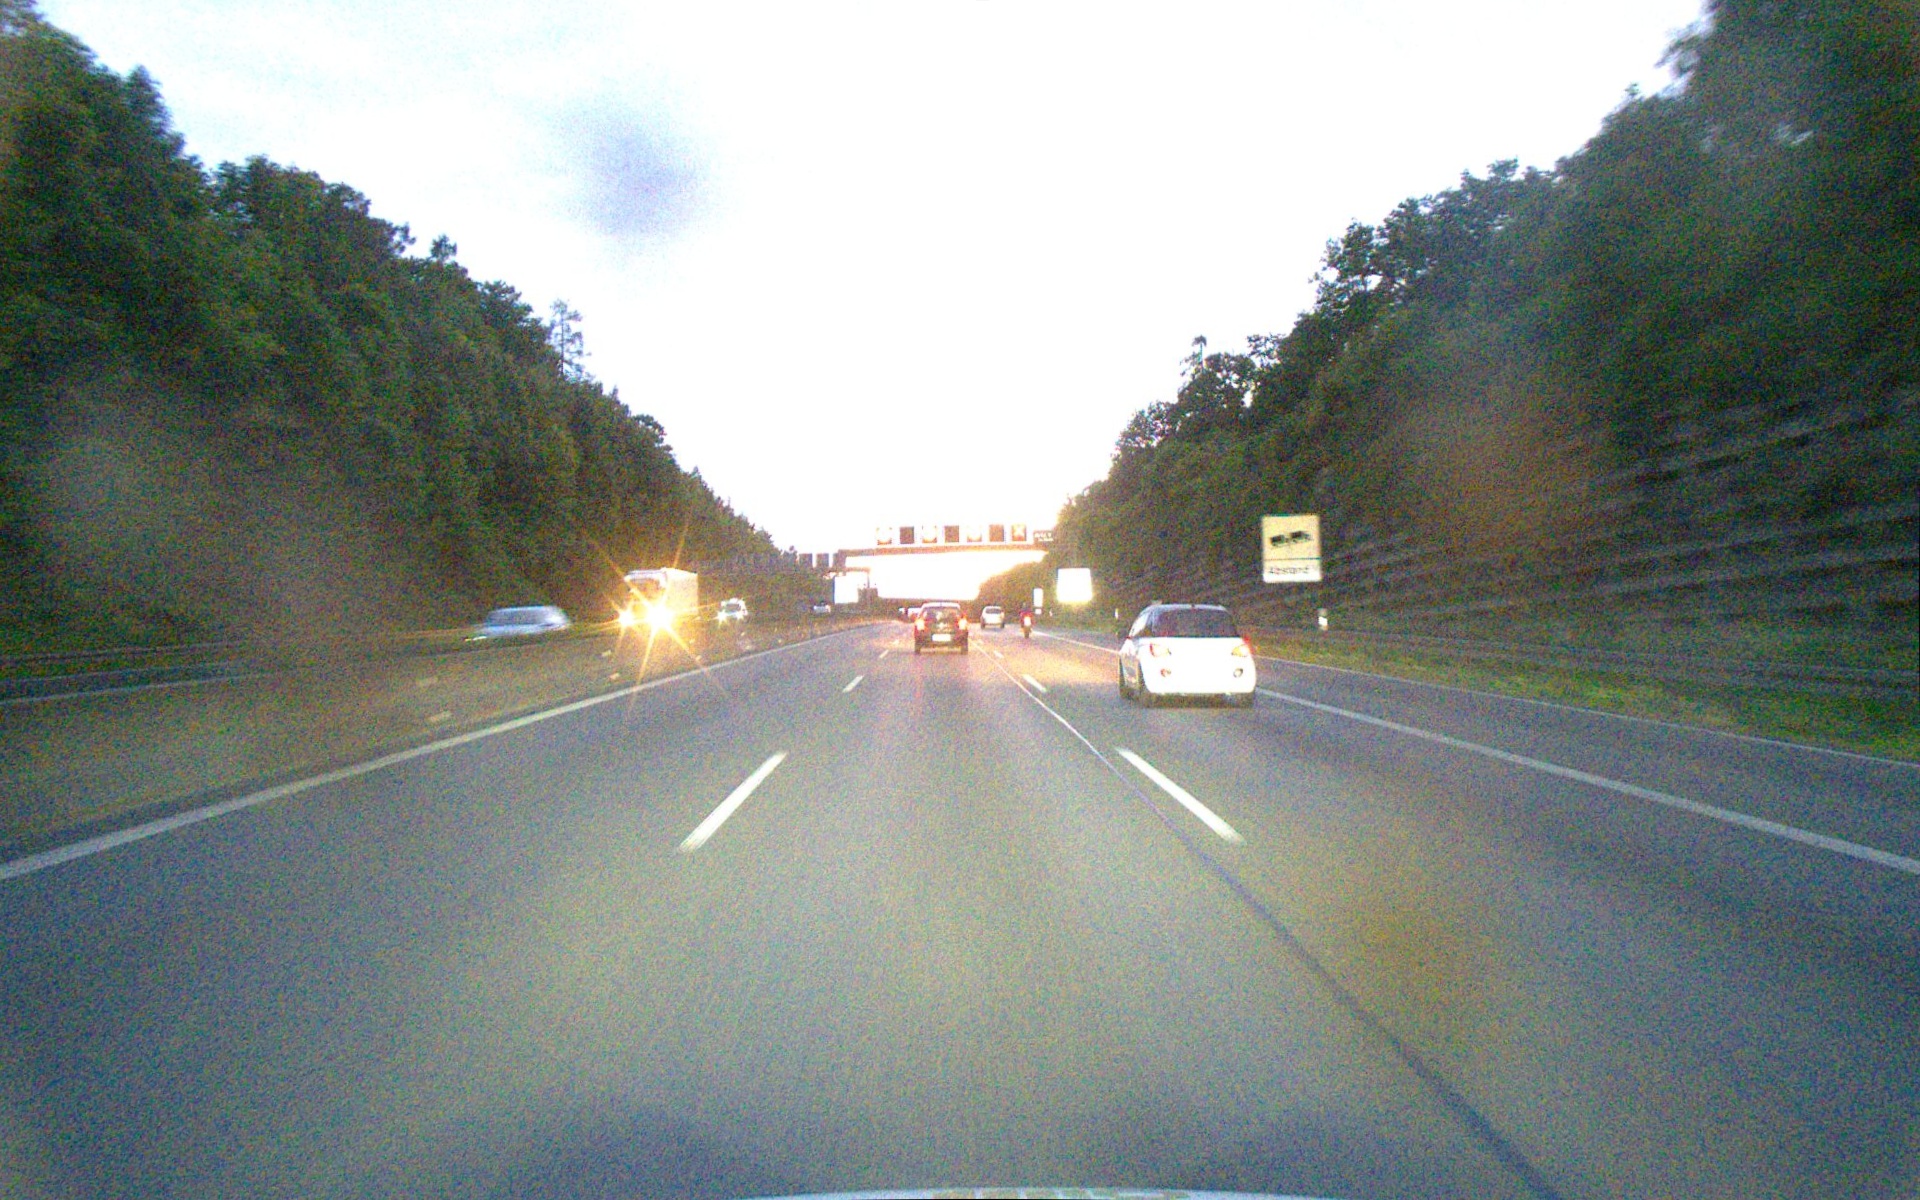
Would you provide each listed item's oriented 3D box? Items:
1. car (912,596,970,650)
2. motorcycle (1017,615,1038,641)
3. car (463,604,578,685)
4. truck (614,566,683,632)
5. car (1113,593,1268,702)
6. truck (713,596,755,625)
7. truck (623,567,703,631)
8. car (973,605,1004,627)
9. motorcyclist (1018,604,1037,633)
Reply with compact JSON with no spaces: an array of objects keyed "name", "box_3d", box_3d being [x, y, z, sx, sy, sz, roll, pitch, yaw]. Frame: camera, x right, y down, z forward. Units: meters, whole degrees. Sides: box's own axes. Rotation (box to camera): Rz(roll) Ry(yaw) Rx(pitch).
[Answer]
[{"name":"car","box_3d":[-0.559,0.715,49.641,1.669,1.536,4.231,1,-1,0]},{"name":"motorcycle","box_3d":[3.048,1.253,74.779,0.813,1.154,2.475,-1,-1,-1]},{"name":"car","box_3d":[-11.737,1.132,44.514,1.892,1.965,5.109,-2,0,-3]},{"name":"truck","box_3d":[-20.162,-0.077,107.540,3.312,4.073,6.877,-1,0,-2]},{"name":"car","box_3d":[3.442,0.711,25.442,1.788,1.502,4.398,1,-1,0]},{"name":"truck","box_3d":[-20.457,0.938,150.386,2.410,2.553,9.754,0,0,1]},{"name":"truck","box_3d":[-20.364,-0.036,114.487,3.289,4.073,14.491,-1,0,-2]},{"name":"car","box_3d":[2.096,1.191,121.857,1.829,1.520,4.393,1,-1,-5]},{"name":"motorcyclist","box_3d":[3.044,0.829,74.717,0.813,1.314,1.190,-1,-1,-1]}]
